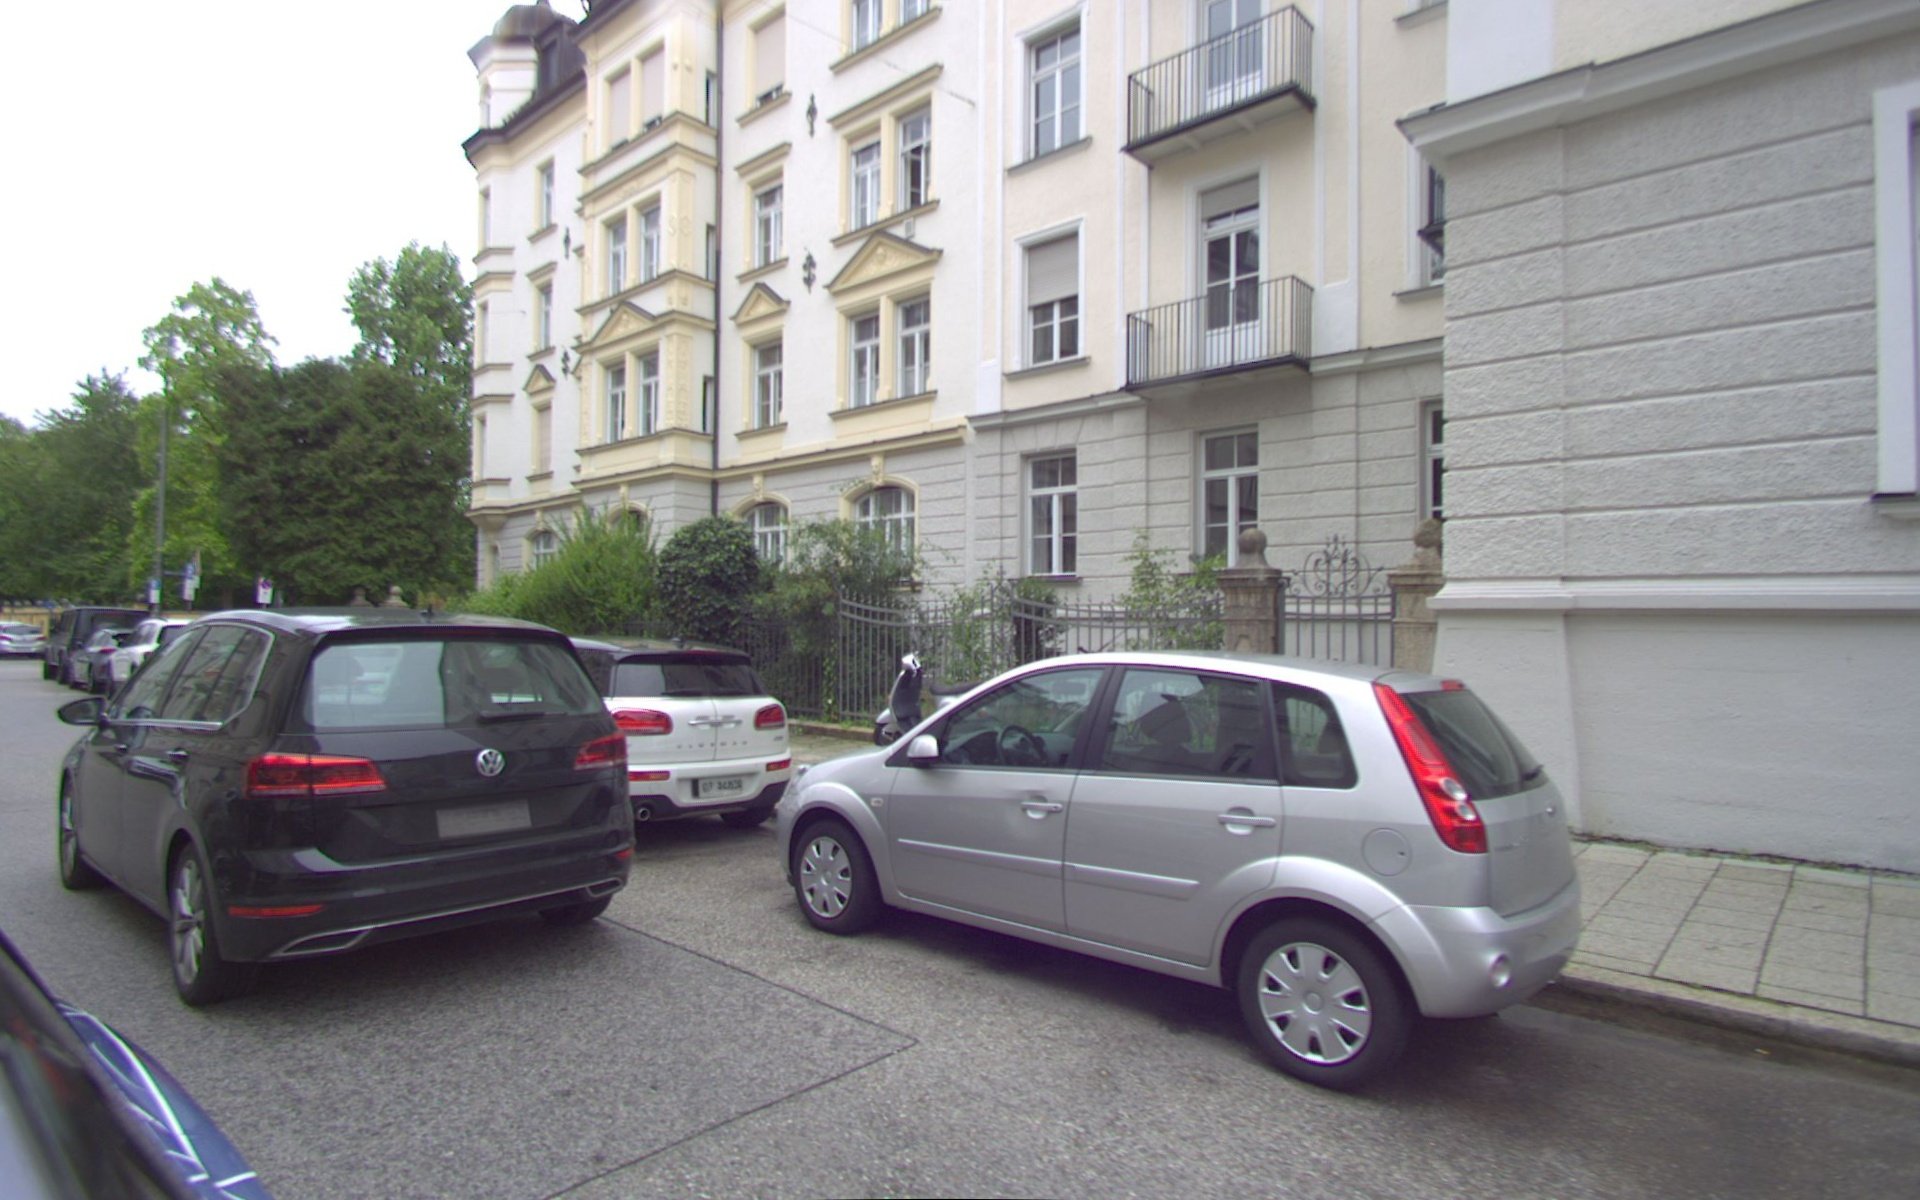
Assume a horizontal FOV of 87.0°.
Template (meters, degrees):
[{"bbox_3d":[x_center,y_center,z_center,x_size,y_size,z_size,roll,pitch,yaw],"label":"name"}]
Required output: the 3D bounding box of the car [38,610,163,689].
[{"bbox_3d":[-22.784,1.260,26.768,4.816,1.901,1.891,-1,-3,43],"label":"car"}]

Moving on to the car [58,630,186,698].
[{"bbox_3d":[-19.434,1.452,23.426,3.918,1.441,1.625,-1,-5,42],"label":"car"}]

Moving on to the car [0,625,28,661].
[{"bbox_3d":[-43.566,1.921,45.740,3.928,1.573,1.683,-2,-2,41],"label":"car"}]

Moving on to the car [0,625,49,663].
[{"bbox_3d":[-39.754,1.849,42.514,3.954,1.504,1.682,-2,-4,41],"label":"car"}]

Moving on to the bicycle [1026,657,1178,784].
[{"bbox_3d":[1.328,1.110,9.631,1.420,1.069,0.426,-2,1,44],"label":"bicycle"}]

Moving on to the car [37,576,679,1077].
[{"bbox_3d":[-3.318,0.784,5.189,4.086,1.545,1.705,-1,-4,43],"label":"car"}]

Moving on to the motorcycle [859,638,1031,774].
[{"bbox_3d":[-0.191,1.059,10.695,1.820,1.259,0.697,-1,0,42],"label":"motorcycle"}]

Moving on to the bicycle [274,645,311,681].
[{"bbox_3d":[-18.341,1.723,27.795,1.636,0.959,0.445,-4,-3,41],"label":"bicycle"}]

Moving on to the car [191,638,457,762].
[{"bbox_3d":[-8.425,1.209,13.273,4.189,1.375,1.717,-2,-4,40],"label":"car"}]

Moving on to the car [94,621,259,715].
[{"bbox_3d":[-15.619,1.297,20.083,4.484,1.661,1.786,-2,-4,42],"label":"car"}]

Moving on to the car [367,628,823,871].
[{"bbox_3d":[-3.099,0.956,8.162,4.079,1.446,1.777,-1,-2,43],"label":"car"}]

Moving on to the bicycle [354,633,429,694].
[{"bbox_3d":[-12.533,1.372,22.257,2.530,1.270,0.688,-2,-4,44],"label":"bicycle"}]

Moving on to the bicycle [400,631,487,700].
[{"bbox_3d":[-10.513,1.303,20.547,2.530,1.307,0.747,-2,-4,44],"label":"bicycle"}]

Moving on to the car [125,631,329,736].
[{"bbox_3d":[-11.870,1.244,16.312,3.997,1.431,1.750,0,-2,40],"label":"car"}]

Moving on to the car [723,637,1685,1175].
[{"bbox_3d":[0.811,0.917,4.672,3.997,1.414,1.628,-1,-4,41],"label":"car"}]
